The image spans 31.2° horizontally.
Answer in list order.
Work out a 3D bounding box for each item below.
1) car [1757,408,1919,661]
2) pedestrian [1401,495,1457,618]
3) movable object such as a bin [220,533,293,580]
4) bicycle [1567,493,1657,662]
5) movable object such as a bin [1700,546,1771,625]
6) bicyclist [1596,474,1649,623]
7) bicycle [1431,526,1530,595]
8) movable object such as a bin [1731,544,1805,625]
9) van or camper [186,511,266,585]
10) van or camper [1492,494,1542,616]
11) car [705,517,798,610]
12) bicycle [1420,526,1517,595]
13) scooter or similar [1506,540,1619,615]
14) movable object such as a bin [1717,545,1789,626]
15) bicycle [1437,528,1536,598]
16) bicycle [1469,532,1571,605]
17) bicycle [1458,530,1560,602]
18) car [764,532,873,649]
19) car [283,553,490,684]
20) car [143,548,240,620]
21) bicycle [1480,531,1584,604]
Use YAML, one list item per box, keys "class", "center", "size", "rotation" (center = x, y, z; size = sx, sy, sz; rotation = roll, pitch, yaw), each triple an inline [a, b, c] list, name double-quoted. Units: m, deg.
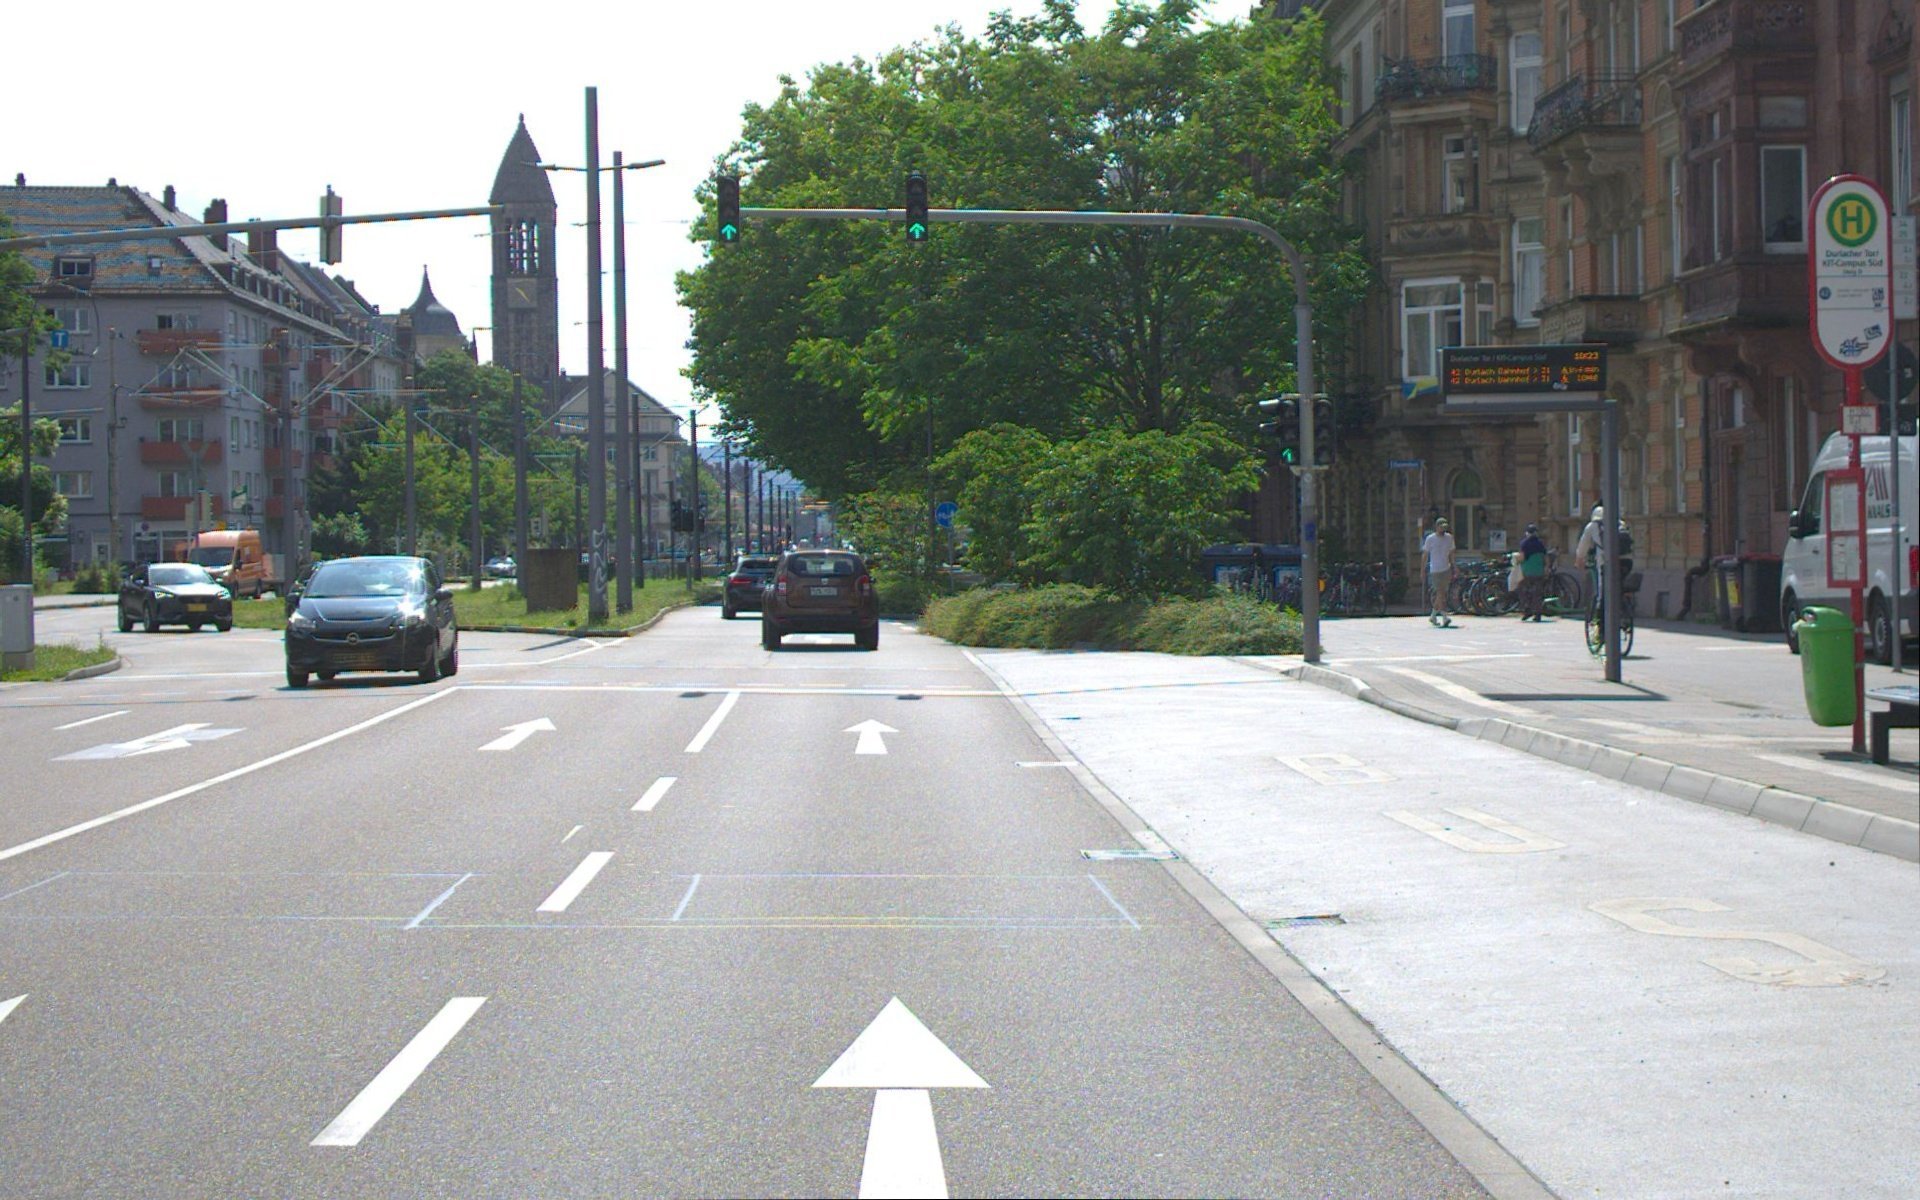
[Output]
- class: "car"
  center: [10.379, -0.720, 37.195]
  size: [1.993, 2.517, 5.889]
  rotation: [-1, 1, -1]
- class: "pedestrian"
  center: [7.746, -0.723, 56.785]
  size: [0.768, 2.007, 0.715]
  rotation: [-1, 1, -1]
- class: "movable object such as a bin"
  center: [-28.199, -1.746, 137.867]
  size: [2.206, 1.688, 3.718]
  rotation: [-1, 3, -1]
- class: "bicycle"
  center: [7.573, -0.270, 39.983]
  size: [0.683, 1.919, 1.590]
  rotation: [-1, 1, -1]
- class: "movable object such as a bin"
  center: [11.088, -0.215, 49.177]
  size: [0.785, 1.104, 0.777]
  rotation: [-1, 1, -3]
- class: "bicyclist"
  center: [7.713, -0.598, 40.027]
  size: [0.427, 1.713, 0.828]
  rotation: [-1, 1, -1]
- class: "bicycle"
  center: [9.719, -0.741, 64.231]
  size: [1.769, 1.263, 0.466]
  rotation: [-1, 3, 2]
- class: "movable object such as a bin"
  center: [11.168, -0.220, 47.527]
  size: [0.785, 1.104, 0.777]
  rotation: [-1, 1, -3]
- class: "van or camper"
  center: [-28.106, -1.995, 131.850]
  size: [2.255, 2.728, 6.204]
  rotation: [-1, 1, -6]
- class: "van or camper"
  center: [9.276, -0.752, 57.252]
  size: [0.666, 2.007, 0.638]
  rotation: [-1, 1, -1]
- class: "car"
  center: [-4.743, -0.834, 77.860]
  size: [1.993, 2.007, 4.001]
  rotation: [-1, 1, -4]
- class: "bicycle"
  center: [9.650, -0.749, 65.249]
  size: [1.769, 1.263, 0.466]
  rotation: [-1, 3, 2]
- class: "scooter or similar"
  center: [10.183, -0.388, 58.115]
  size: [1.769, 1.181, 0.466]
  rotation: [-3, 0, -1]
- class: "movable object such as a bin"
  center: [11.131, -0.208, 48.283]
  size: [0.785, 1.104, 0.777]
  rotation: [-1, 1, -3]
- class: "bicycle"
  center: [9.739, -0.681, 63.609]
  size: [1.769, 1.263, 0.466]
  rotation: [-1, 3, 2]
- class: "bicycle"
  center: [9.994, -0.564, 61.364]
  size: [1.746, 1.263, 0.466]
  rotation: [-1, 3, 2]
- class: "bicycle"
  center: [9.908, -0.616, 62.039]
  size: [1.769, 1.263, 0.466]
  rotation: [-1, 3, 2]
- class: "car"
  center: [-2.329, -0.188, 56.058]
  size: [1.688, 1.705, 3.610]
  rotation: [-1, 3, -3]
- class: "car"
  center: [-6.584, 0.178, 39.843]
  size: [1.915, 1.412, 3.742]
  rotation: [-1, 1, -3]
- class: "car"
  center: [-17.090, -0.373, 76.320]
  size: [1.798, 1.546, 4.297]
  rotation: [0, 1, -17]
- class: "bicycle"
  center: [10.124, -0.579, 60.828]
  size: [1.769, 1.263, 0.466]
  rotation: [-1, 3, 2]
